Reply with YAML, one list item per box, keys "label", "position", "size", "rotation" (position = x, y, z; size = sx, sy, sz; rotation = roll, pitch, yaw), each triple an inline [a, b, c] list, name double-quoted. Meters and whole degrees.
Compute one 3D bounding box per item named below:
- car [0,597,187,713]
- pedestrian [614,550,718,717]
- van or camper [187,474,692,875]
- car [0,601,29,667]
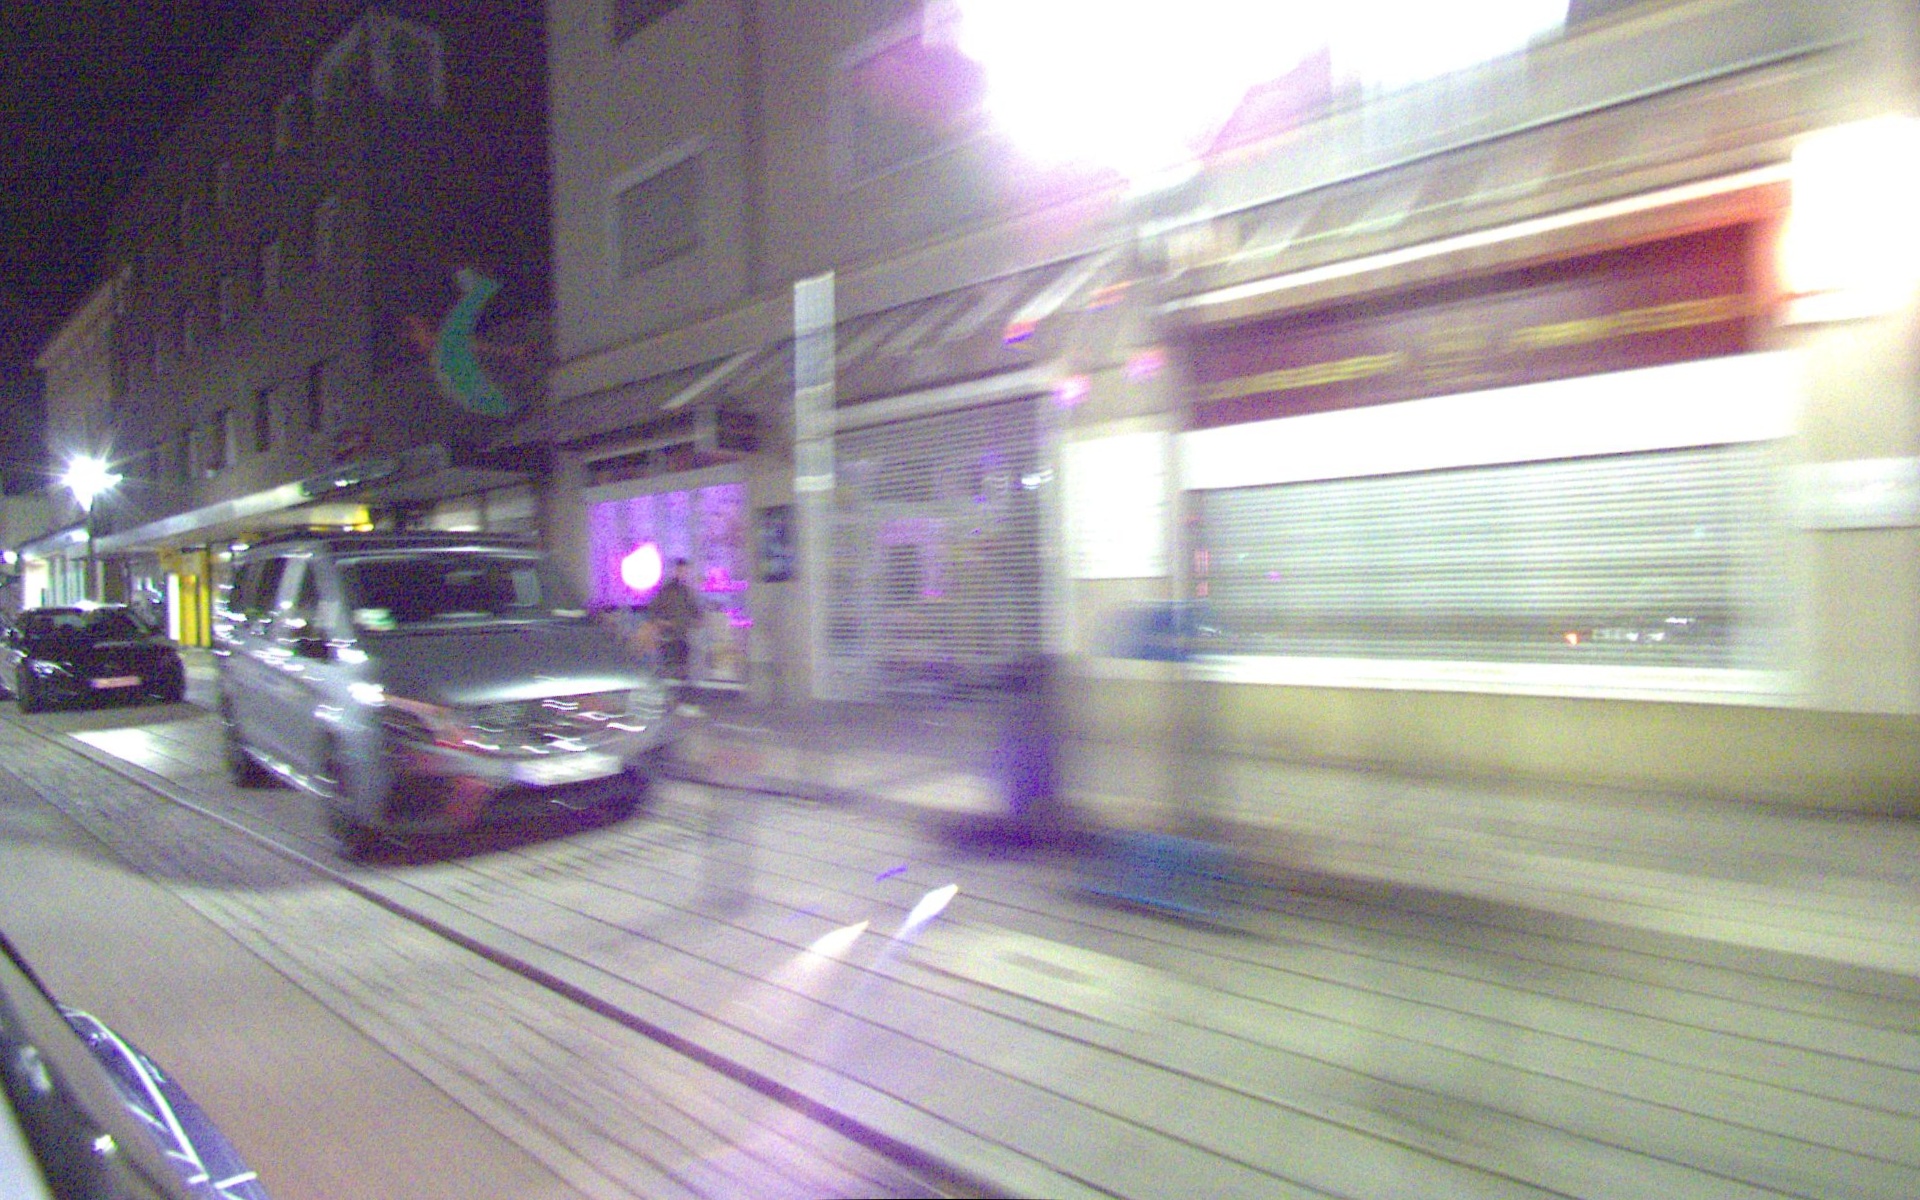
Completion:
- label: "car"
  position: [-13.037, 0.706, 14.942]
  size: [4.383, 1.423, 1.699]
  rotation: [0, 2, 41]
- label: "pedestrian"
  position: [-3.254, 0.350, 11.184]
  size: [1.022, 1.758, 0.615]
  rotation: [0, 1, 41]
- label: "van or camper"
  position: [-4.114, 0.356, 7.422]
  size: [1.824, 1.956, 5.157]
  rotation: [-2, 1, -44]
- label: "car"
  position: [-23.795, 0.796, 24.117]
  size: [4.317, 1.489, 1.779]
  rotation: [0, 2, 40]
